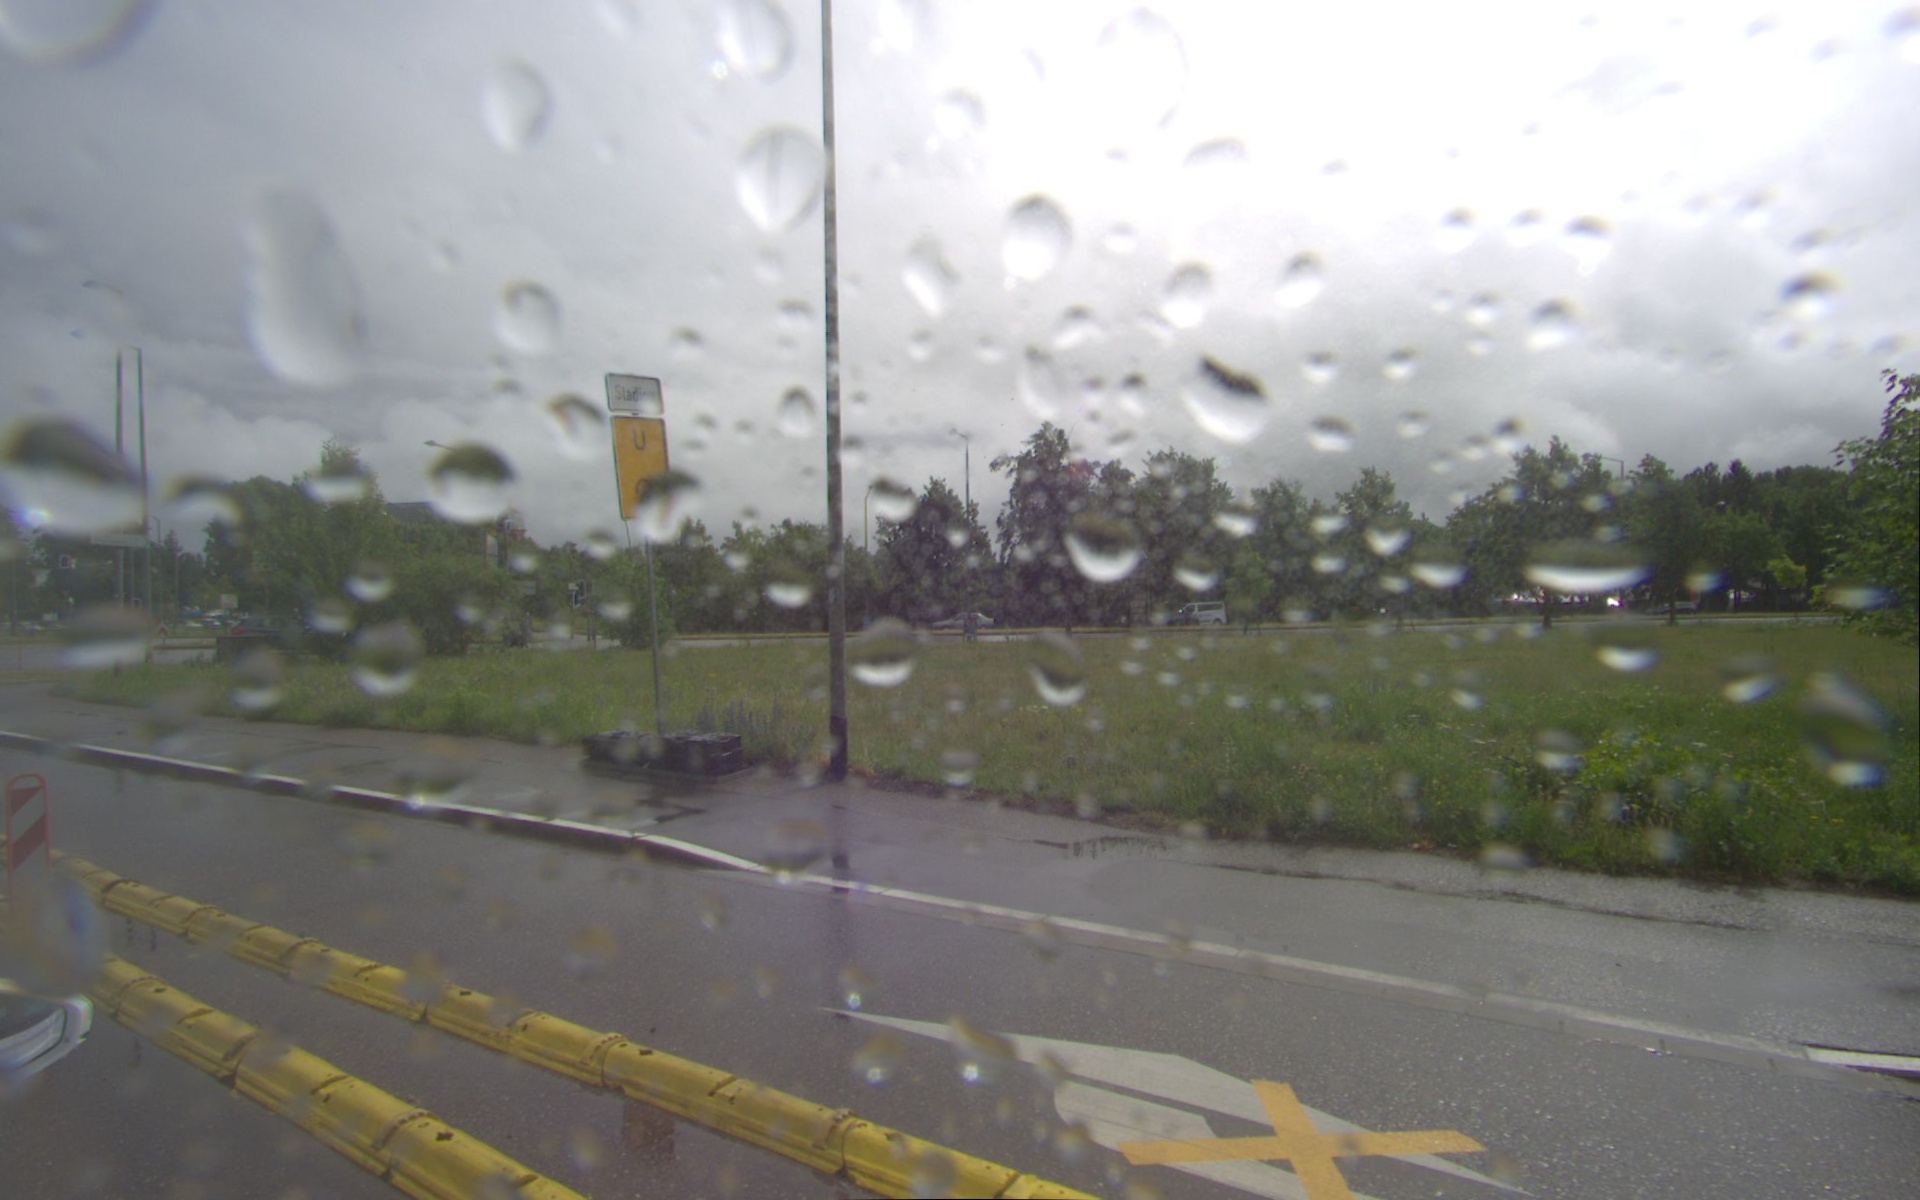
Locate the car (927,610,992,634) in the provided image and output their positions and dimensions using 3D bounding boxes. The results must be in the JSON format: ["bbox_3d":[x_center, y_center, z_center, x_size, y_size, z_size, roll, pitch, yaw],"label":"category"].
[{"bbox_3d":[-0.062,1.460,67.464,4.038,1.581,1.912,0,0,-13],"label":"car"}]

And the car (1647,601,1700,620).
[{"bbox_3d":[62.677,0.941,87.974,4.158,1.579,1.541,0,0,-14],"label":"car"}]

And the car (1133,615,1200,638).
[{"bbox_3d":[14.647,1.859,71.149,4.227,1.581,1.911,0,0,-15],"label":"car"}]

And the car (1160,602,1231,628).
[{"bbox_3d":[17.762,1.121,75.681,4.873,1.944,1.996,0,0,-17],"label":"car"}]

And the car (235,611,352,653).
[{"bbox_3d":[-27.755,1.310,41.755,3.910,1.666,1.657,1,-1,-40],"label":"car"}]
